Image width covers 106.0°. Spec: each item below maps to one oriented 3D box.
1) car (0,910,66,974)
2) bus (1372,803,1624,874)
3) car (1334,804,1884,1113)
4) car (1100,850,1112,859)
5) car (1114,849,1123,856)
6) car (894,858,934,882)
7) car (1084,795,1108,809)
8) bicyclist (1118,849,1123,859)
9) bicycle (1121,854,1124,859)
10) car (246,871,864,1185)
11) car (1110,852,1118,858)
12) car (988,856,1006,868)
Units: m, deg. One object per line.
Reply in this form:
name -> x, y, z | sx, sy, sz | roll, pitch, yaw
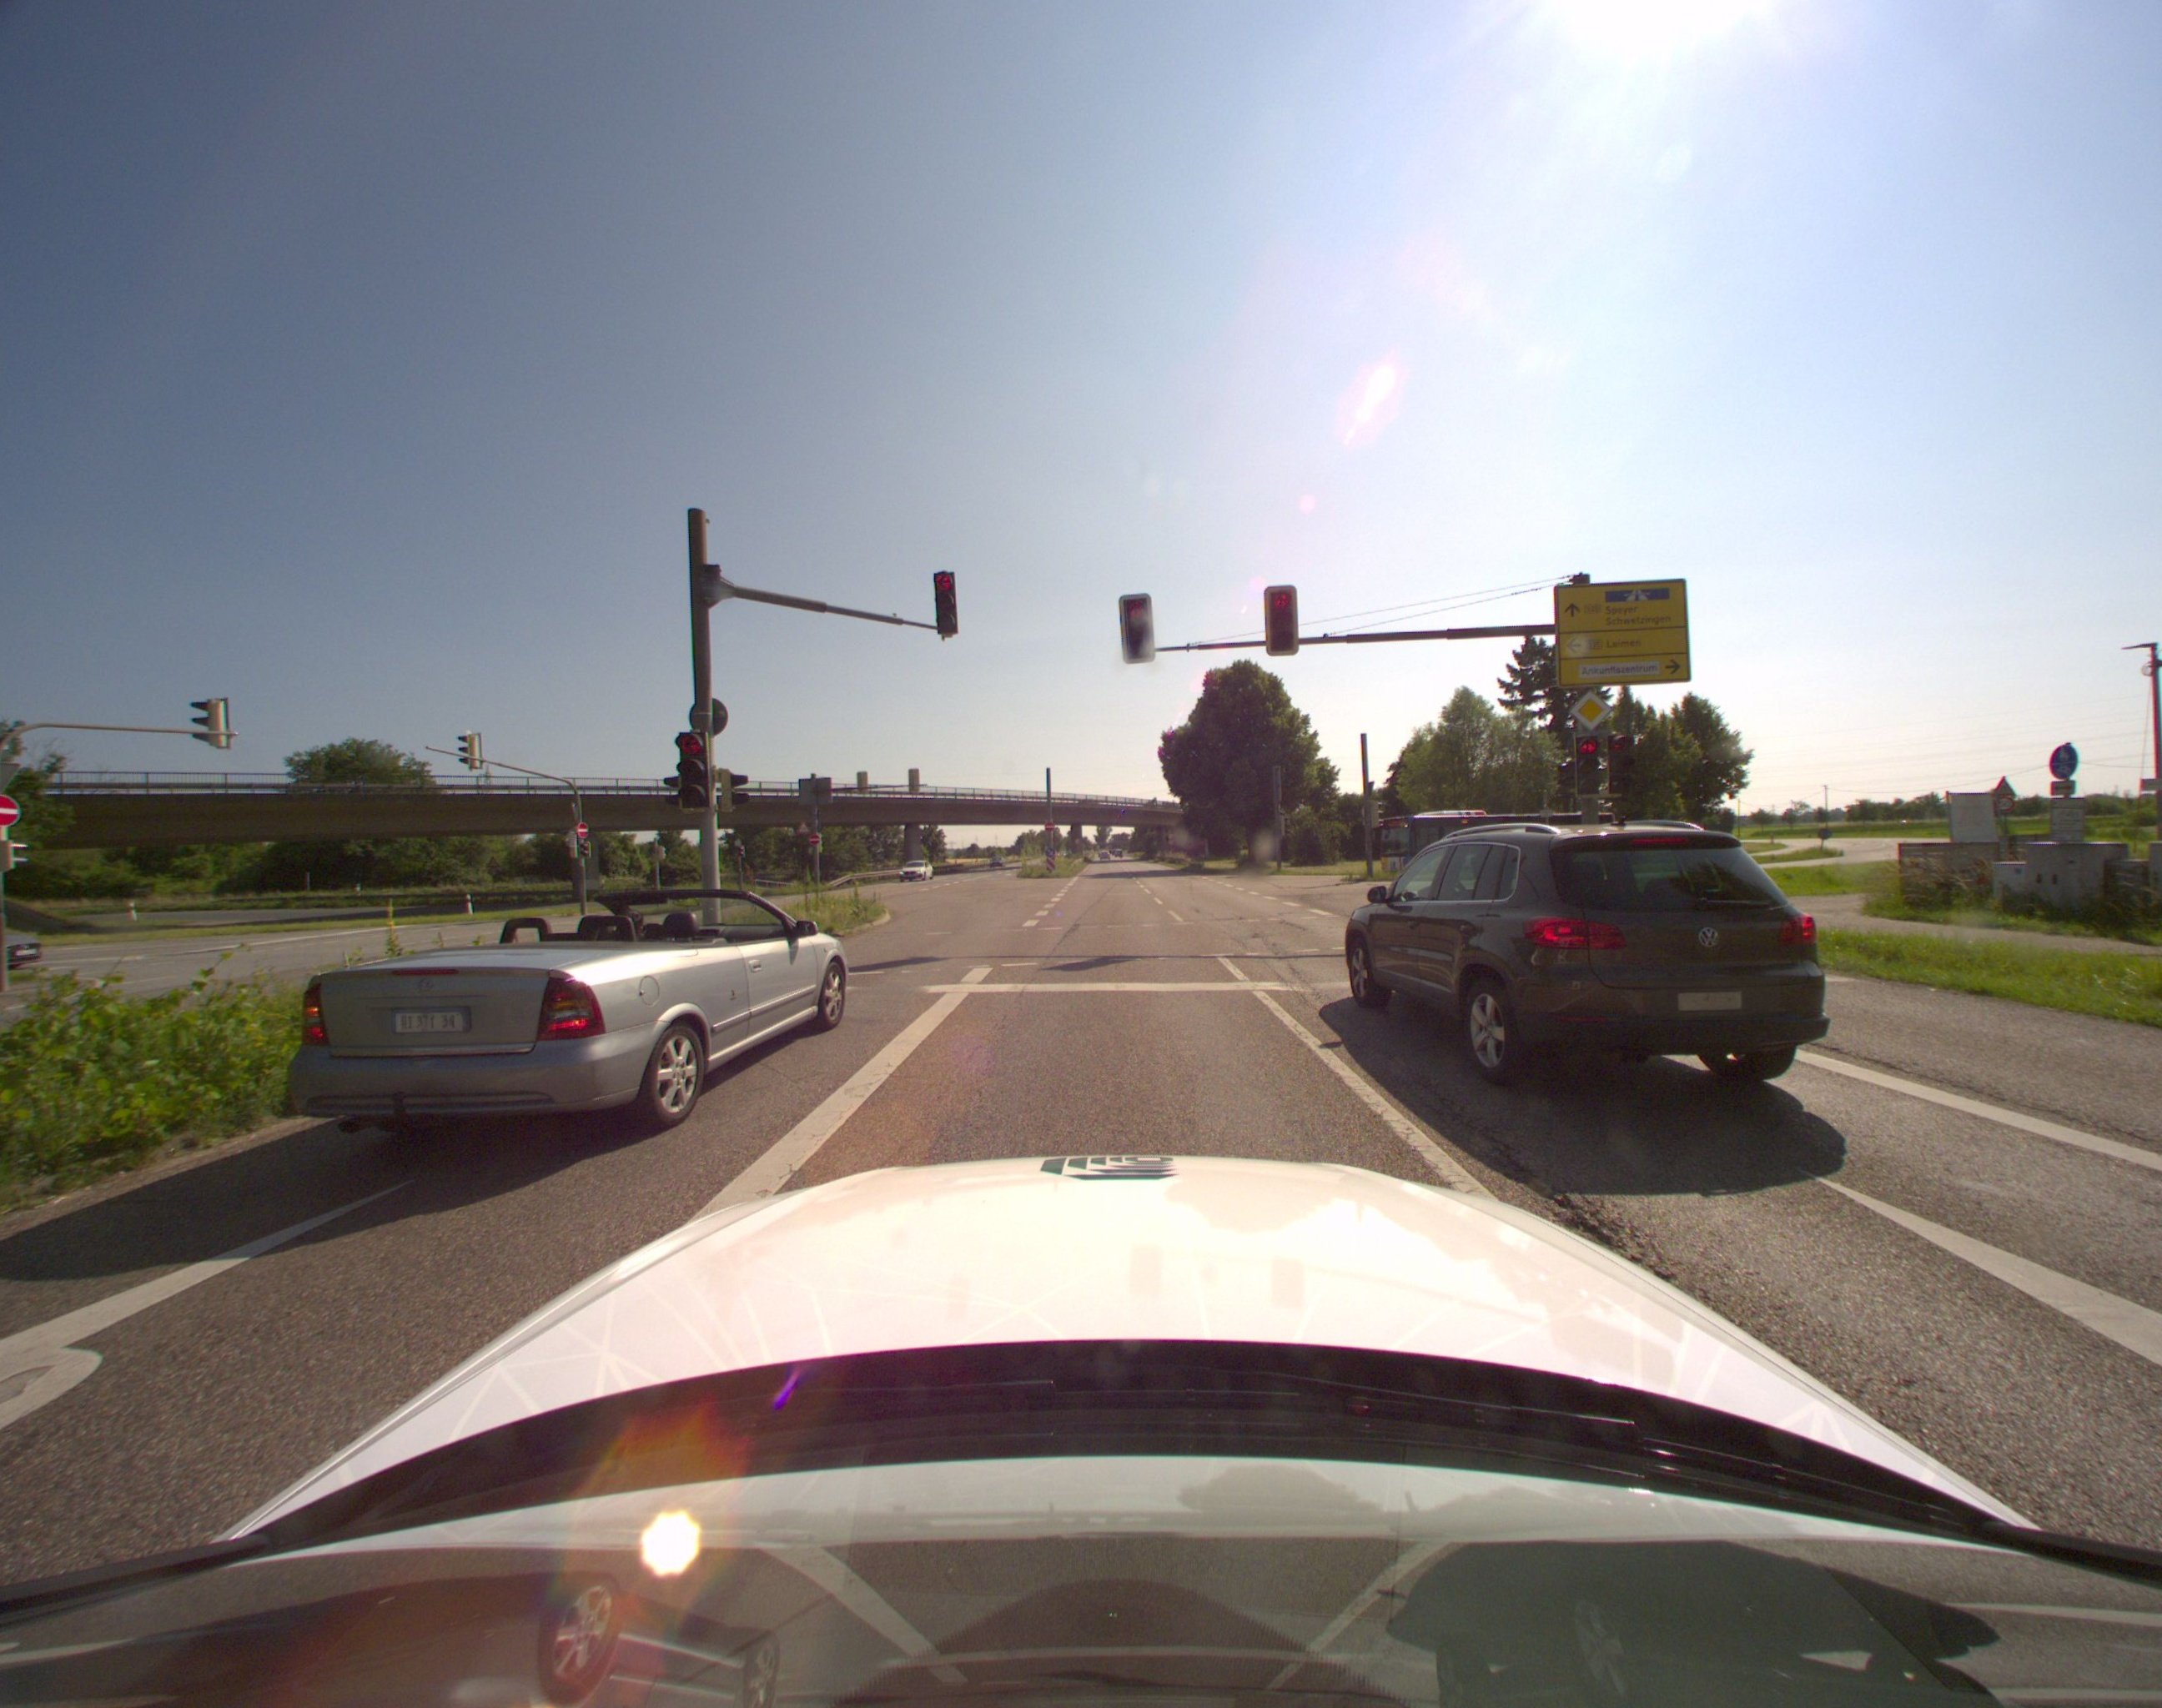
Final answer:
car -> -27.876, 2.244, 19.458 | 4.125, 1.424, 1.859 | -3, 0, -18
bus -> 20.562, -0.802, 40.145 | 11.953, 2.877, 2.929 | -3, 0, -14
car -> 3.482, 0.559, 6.453 | 1.749, 1.655, 4.147 | 0, 0, 1
car -> 4.214, 0.109, 136.283 | 1.843, 1.461, 4.003 | -1, 0, 3
car -> 8.372, -0.410, 182.859 | 1.866, 1.640, 4.003 | 0, 0, 3
car -> -12.090, 1.144, 59.198 | 1.876, 1.515, 4.148 | -5, 0, 1
car -> 1.858, -6.298, 98.451 | 1.306, 1.486, 3.218 | -3, 0, 34
bicyclist -> 7.713, -0.005, 158.413 | 1.003, 1.886, 1.328 | -3, 0, 3
bicycle -> 8.008, 0.433, 158.150 | 0.598, 0.983, 2.362 | -3, 0, 2
car -> -3.071, 0.881, 5.947 | 1.667, 1.335, 4.100 | -3, 0, 2
car -> 8.860, 0.250, 216.813 | 1.986, 1.631, 4.001 | 0, -1, 2
car -> -10.930, 1.016, 106.154 | 1.608, 1.442, 3.778 | -5, 0, 2
